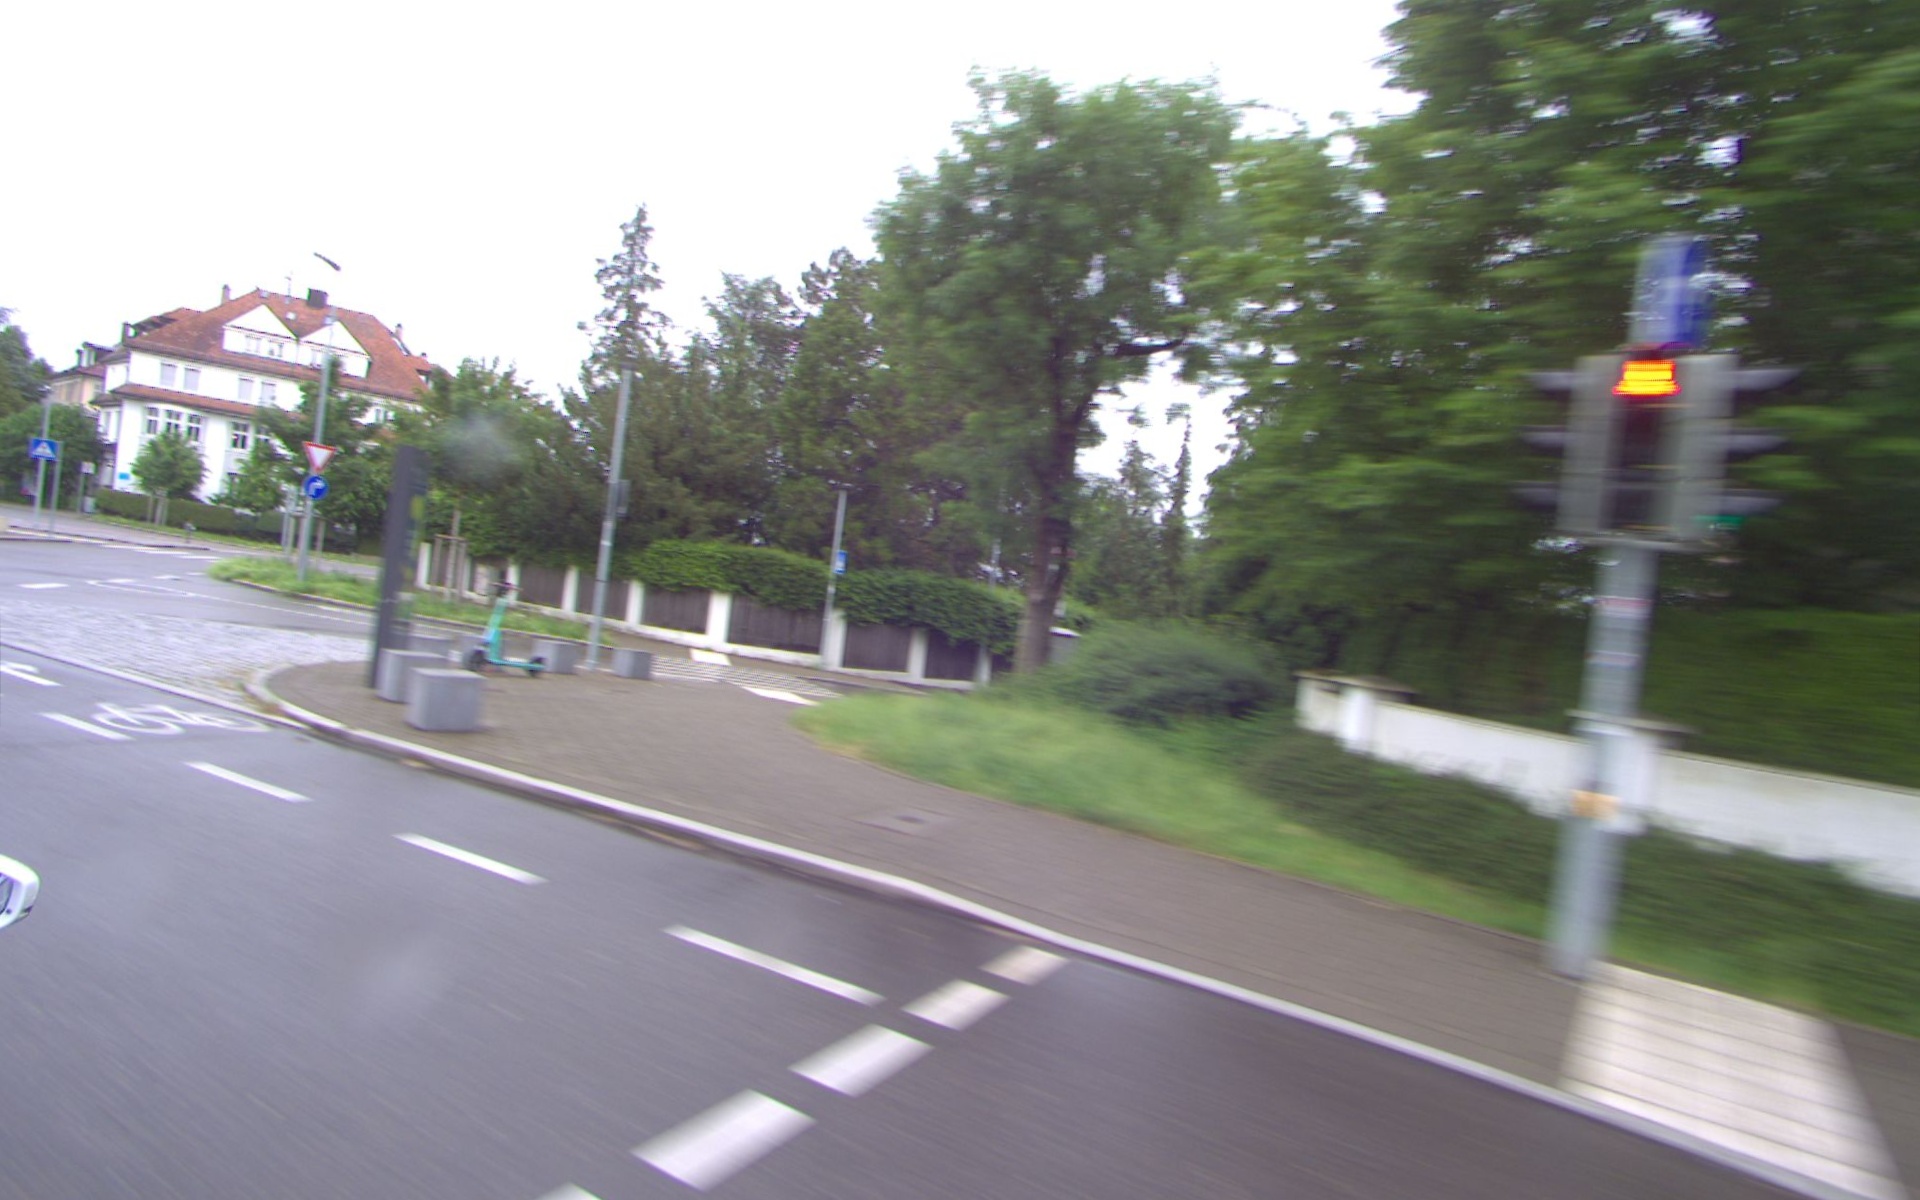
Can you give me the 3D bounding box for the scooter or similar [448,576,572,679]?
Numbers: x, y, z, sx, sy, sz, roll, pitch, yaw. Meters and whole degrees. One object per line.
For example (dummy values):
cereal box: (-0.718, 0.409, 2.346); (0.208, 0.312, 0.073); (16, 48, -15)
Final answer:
scooter or similar: (-6.028, 0.392, 13.539); (0.516, 1.220, 1.352); (6, -3, 28)
